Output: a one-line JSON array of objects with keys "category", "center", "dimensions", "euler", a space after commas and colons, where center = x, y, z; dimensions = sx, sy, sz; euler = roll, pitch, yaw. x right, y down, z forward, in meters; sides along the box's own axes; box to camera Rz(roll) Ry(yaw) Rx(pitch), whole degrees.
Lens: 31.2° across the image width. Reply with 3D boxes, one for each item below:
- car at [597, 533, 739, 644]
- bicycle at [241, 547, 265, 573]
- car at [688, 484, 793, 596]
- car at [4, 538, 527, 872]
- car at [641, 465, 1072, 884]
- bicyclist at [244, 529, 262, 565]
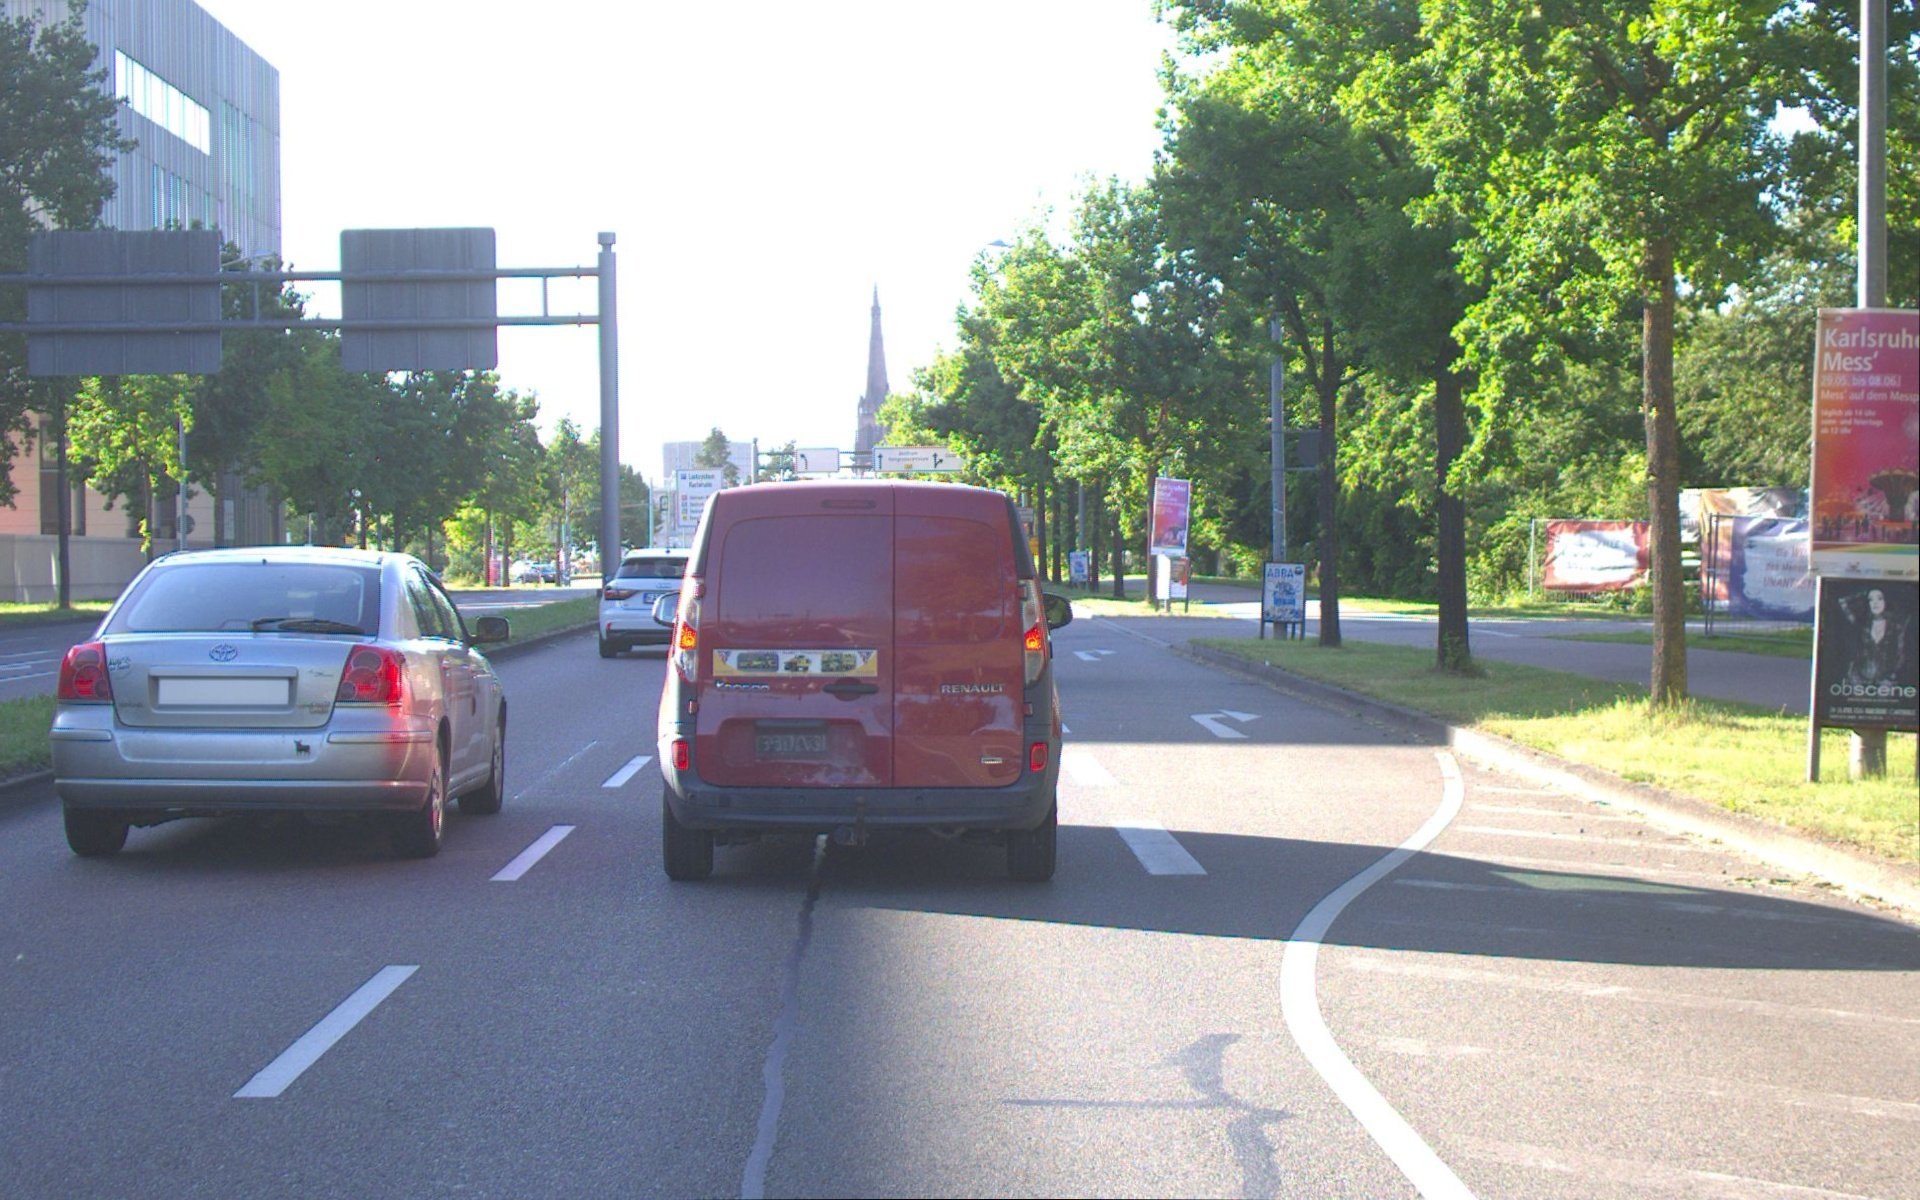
[{"category": "car", "center": [-3.829, -0.173, 45.583], "dimensions": [1.661, 1.393, 3.559], "euler": [-1, 1, -2]}, {"category": "bicycle", "center": [-27.461, -1.543, 133.537], "dimensions": [0.570, 1.000, 2.096], "euler": [-1, 0, -2]}, {"category": "car", "center": [-3.751, -1.032, 59.172], "dimensions": [1.661, 1.850, 3.559], "euler": [-1, 1, -2]}, {"category": "car", "center": [-3.321, 0.428, 17.222], "dimensions": [1.841, 1.451, 4.163], "euler": [1, 1, -1]}, {"category": "car", "center": [-0.493, 0.284, 16.514], "dimensions": [1.806, 1.753, 4.006], "euler": [0, 1, -2]}, {"category": "bicyclist", "center": [-27.462, -2.052, 133.481], "dimensions": [0.562, 1.387, 0.747], "euler": [-1, 0, -2]}]
